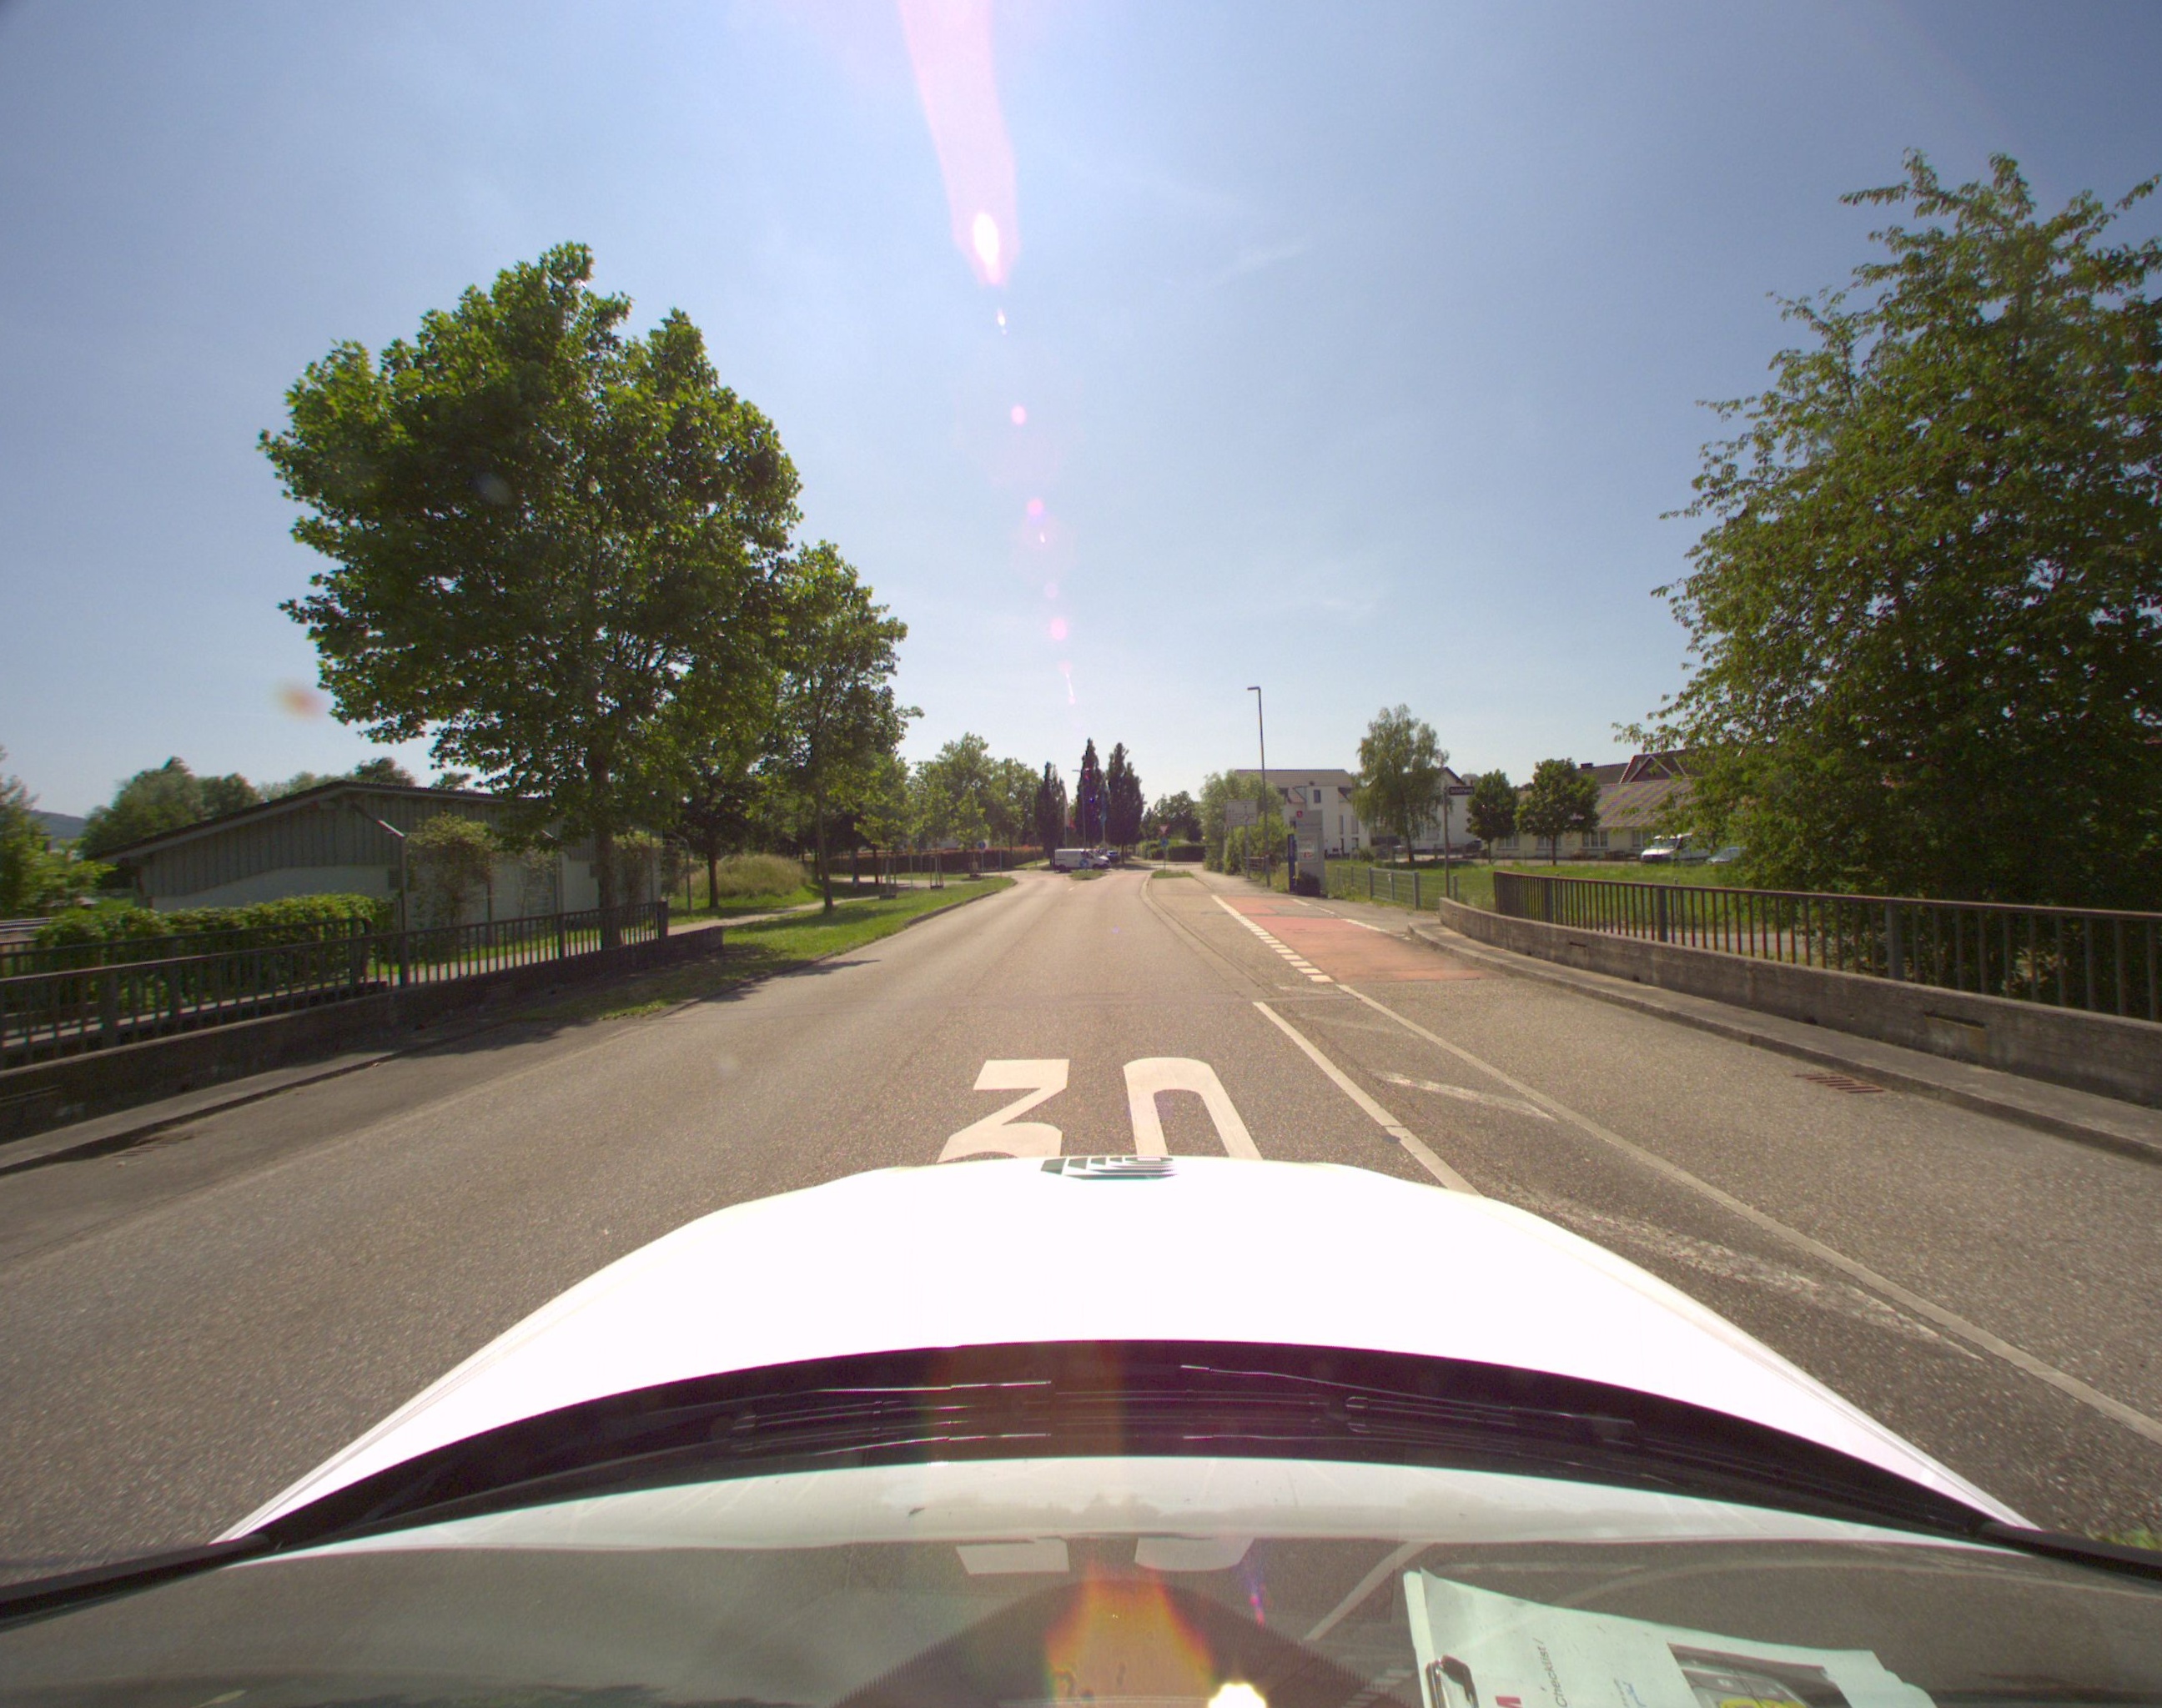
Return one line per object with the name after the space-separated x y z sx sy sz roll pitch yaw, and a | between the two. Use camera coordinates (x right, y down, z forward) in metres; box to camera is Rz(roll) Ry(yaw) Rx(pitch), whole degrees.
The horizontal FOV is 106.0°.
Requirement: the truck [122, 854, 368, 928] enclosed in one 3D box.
-28.321 1.156 27.959 2.977 2.216 5.172 -1 0 1 | truck

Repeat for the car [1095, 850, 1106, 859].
3.690 0.077 156.932 1.988 1.770 3.998 -1 0 -1 | car

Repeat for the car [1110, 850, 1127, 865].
4.769 0.470 103.822 1.916 1.886 4.000 -1 0 1 | car

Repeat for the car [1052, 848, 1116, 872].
0.282 0.498 70.633 5.093 2.014 2.143 -1 0 15 | car

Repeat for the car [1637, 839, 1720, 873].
39.618 0.122 53.970 5.192 2.201 2.197 -1 0 -25 | car
